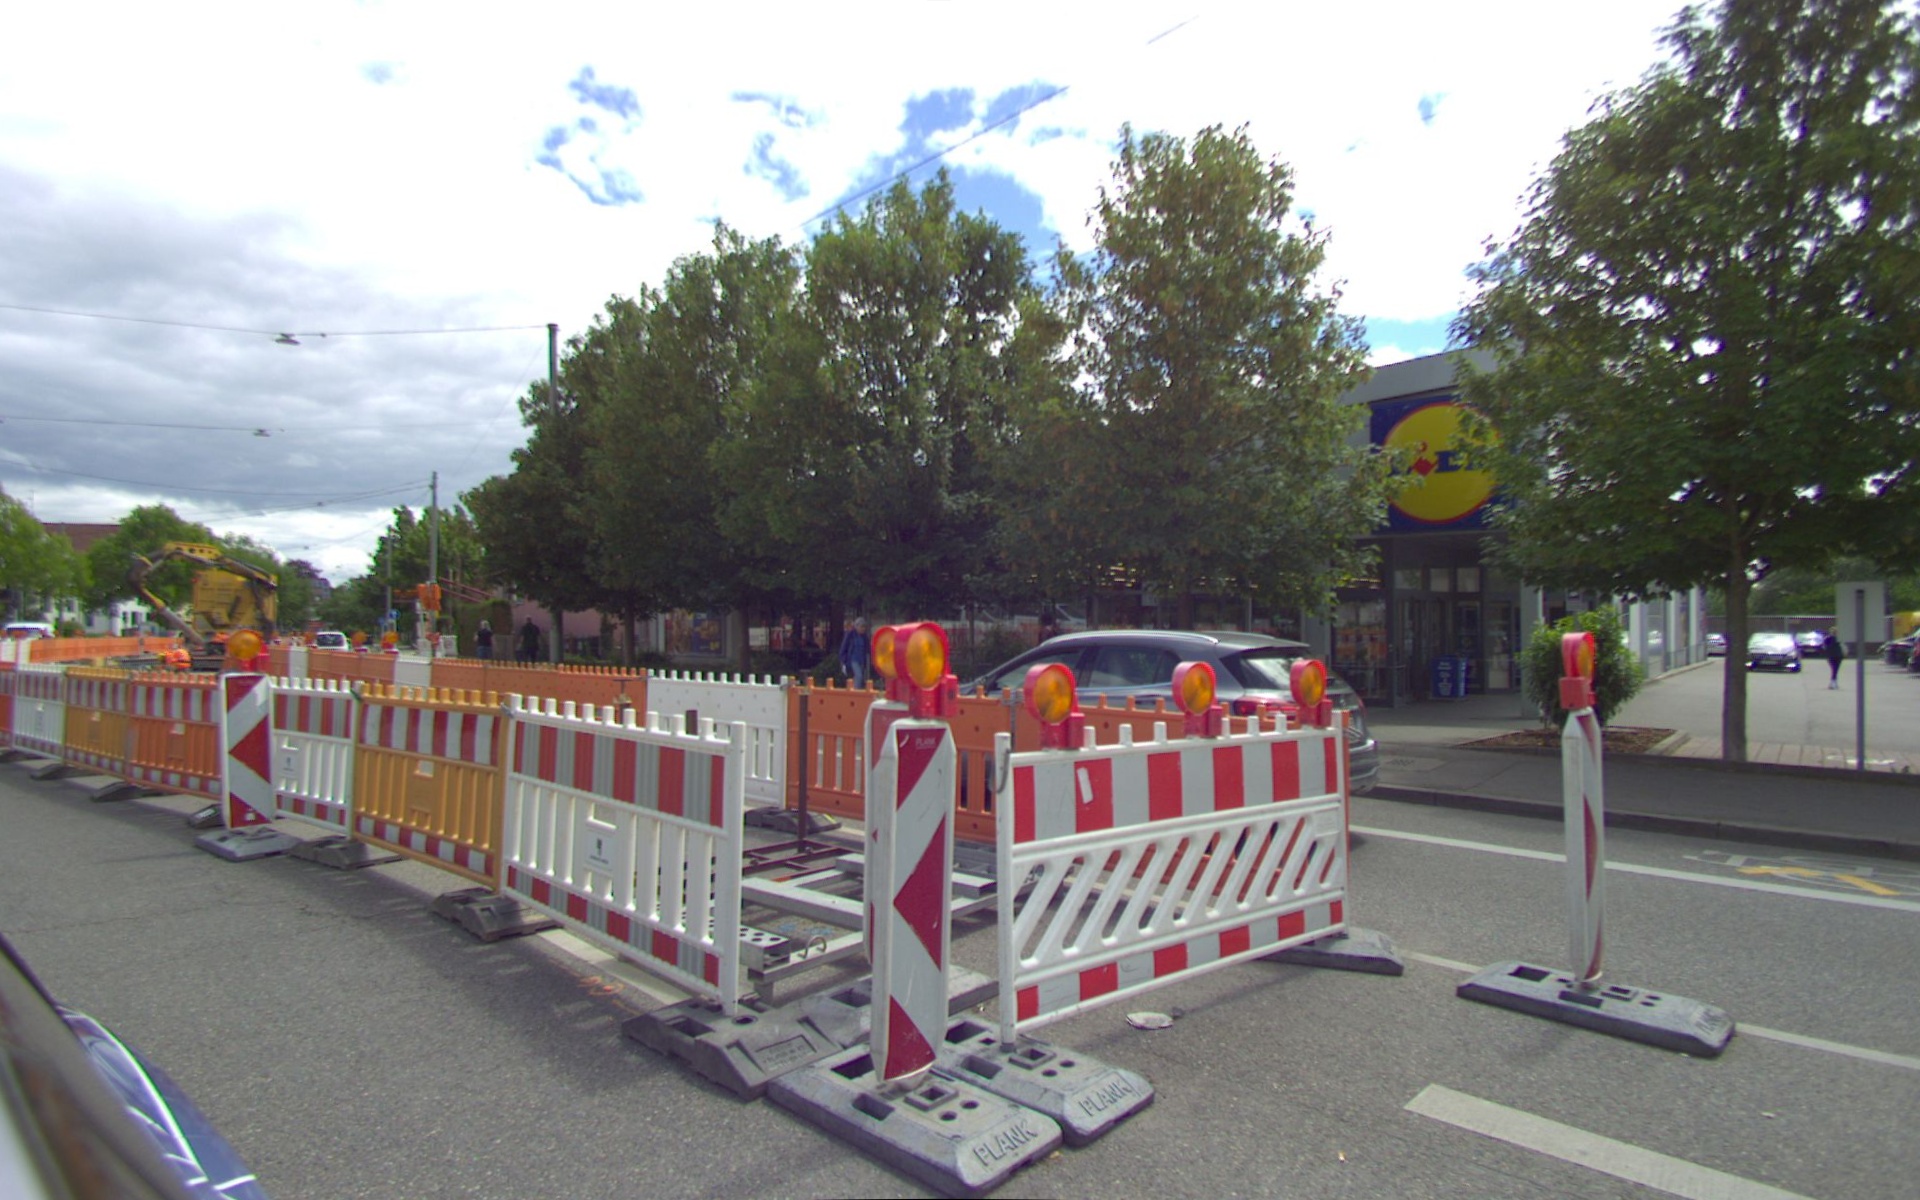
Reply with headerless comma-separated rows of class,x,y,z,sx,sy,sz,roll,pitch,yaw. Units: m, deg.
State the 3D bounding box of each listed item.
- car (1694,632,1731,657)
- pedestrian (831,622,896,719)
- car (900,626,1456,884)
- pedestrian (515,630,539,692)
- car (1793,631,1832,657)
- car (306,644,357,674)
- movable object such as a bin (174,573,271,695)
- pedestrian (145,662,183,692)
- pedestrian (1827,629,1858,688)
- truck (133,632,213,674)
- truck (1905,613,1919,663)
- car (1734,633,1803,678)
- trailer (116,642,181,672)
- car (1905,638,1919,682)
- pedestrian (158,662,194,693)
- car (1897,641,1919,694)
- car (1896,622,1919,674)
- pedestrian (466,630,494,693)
car,48.734,2.857,65.516,1.714,1.586,3.947,-2,-3,39
pedestrian,-1.664,1.196,17.489,0.829,1.615,0.745,-3,-3,40
car,1.512,1.006,8.090,1.832,1.525,4.003,2,-3,-44
pedestrian,-13.222,1.842,30.884,0.616,1.861,0.624,0,-3,-19
car,52.458,2.695,62.349,1.714,1.586,3.947,-2,-3,39
car,-33.662,3.120,54.288,1.828,1.464,4.013,-1,-2,-24
movable object such as a bin,-29.341,1.428,40.634,2.556,4.254,11.150,2,-3,-33
pedestrian,-27.171,2.609,34.561,0.779,0.998,0.814,1,-3,-20
pedestrian,24.612,1.632,28.234,0.606,1.629,0.499,-2,-3,41
truck,-70.122,4.751,90.205,6.576,3.223,2.329,-5,-4,17
truck,55.788,2.108,56.485,4.311,2.792,1.973,-2,-3,41
car,32.143,2.171,40.239,1.998,1.697,3.947,-2,-3,39
trailer,-66.648,4.675,83.259,2.556,2.262,5.692,-2,-2,-21
car,36.166,2.109,35.464,4.311,1.584,1.973,-2,-3,41
pedestrian,-26.226,2.584,33.874,0.632,0.998,0.795,0,-3,-10
car,30.544,1.998,29.732,4.311,1.584,1.973,-2,-3,41
car,46.678,2.218,46.879,4.697,2.413,1.973,-2,-3,41
pedestrian,-14.436,1.850,30.448,0.685,1.861,0.624,0,-3,-19
